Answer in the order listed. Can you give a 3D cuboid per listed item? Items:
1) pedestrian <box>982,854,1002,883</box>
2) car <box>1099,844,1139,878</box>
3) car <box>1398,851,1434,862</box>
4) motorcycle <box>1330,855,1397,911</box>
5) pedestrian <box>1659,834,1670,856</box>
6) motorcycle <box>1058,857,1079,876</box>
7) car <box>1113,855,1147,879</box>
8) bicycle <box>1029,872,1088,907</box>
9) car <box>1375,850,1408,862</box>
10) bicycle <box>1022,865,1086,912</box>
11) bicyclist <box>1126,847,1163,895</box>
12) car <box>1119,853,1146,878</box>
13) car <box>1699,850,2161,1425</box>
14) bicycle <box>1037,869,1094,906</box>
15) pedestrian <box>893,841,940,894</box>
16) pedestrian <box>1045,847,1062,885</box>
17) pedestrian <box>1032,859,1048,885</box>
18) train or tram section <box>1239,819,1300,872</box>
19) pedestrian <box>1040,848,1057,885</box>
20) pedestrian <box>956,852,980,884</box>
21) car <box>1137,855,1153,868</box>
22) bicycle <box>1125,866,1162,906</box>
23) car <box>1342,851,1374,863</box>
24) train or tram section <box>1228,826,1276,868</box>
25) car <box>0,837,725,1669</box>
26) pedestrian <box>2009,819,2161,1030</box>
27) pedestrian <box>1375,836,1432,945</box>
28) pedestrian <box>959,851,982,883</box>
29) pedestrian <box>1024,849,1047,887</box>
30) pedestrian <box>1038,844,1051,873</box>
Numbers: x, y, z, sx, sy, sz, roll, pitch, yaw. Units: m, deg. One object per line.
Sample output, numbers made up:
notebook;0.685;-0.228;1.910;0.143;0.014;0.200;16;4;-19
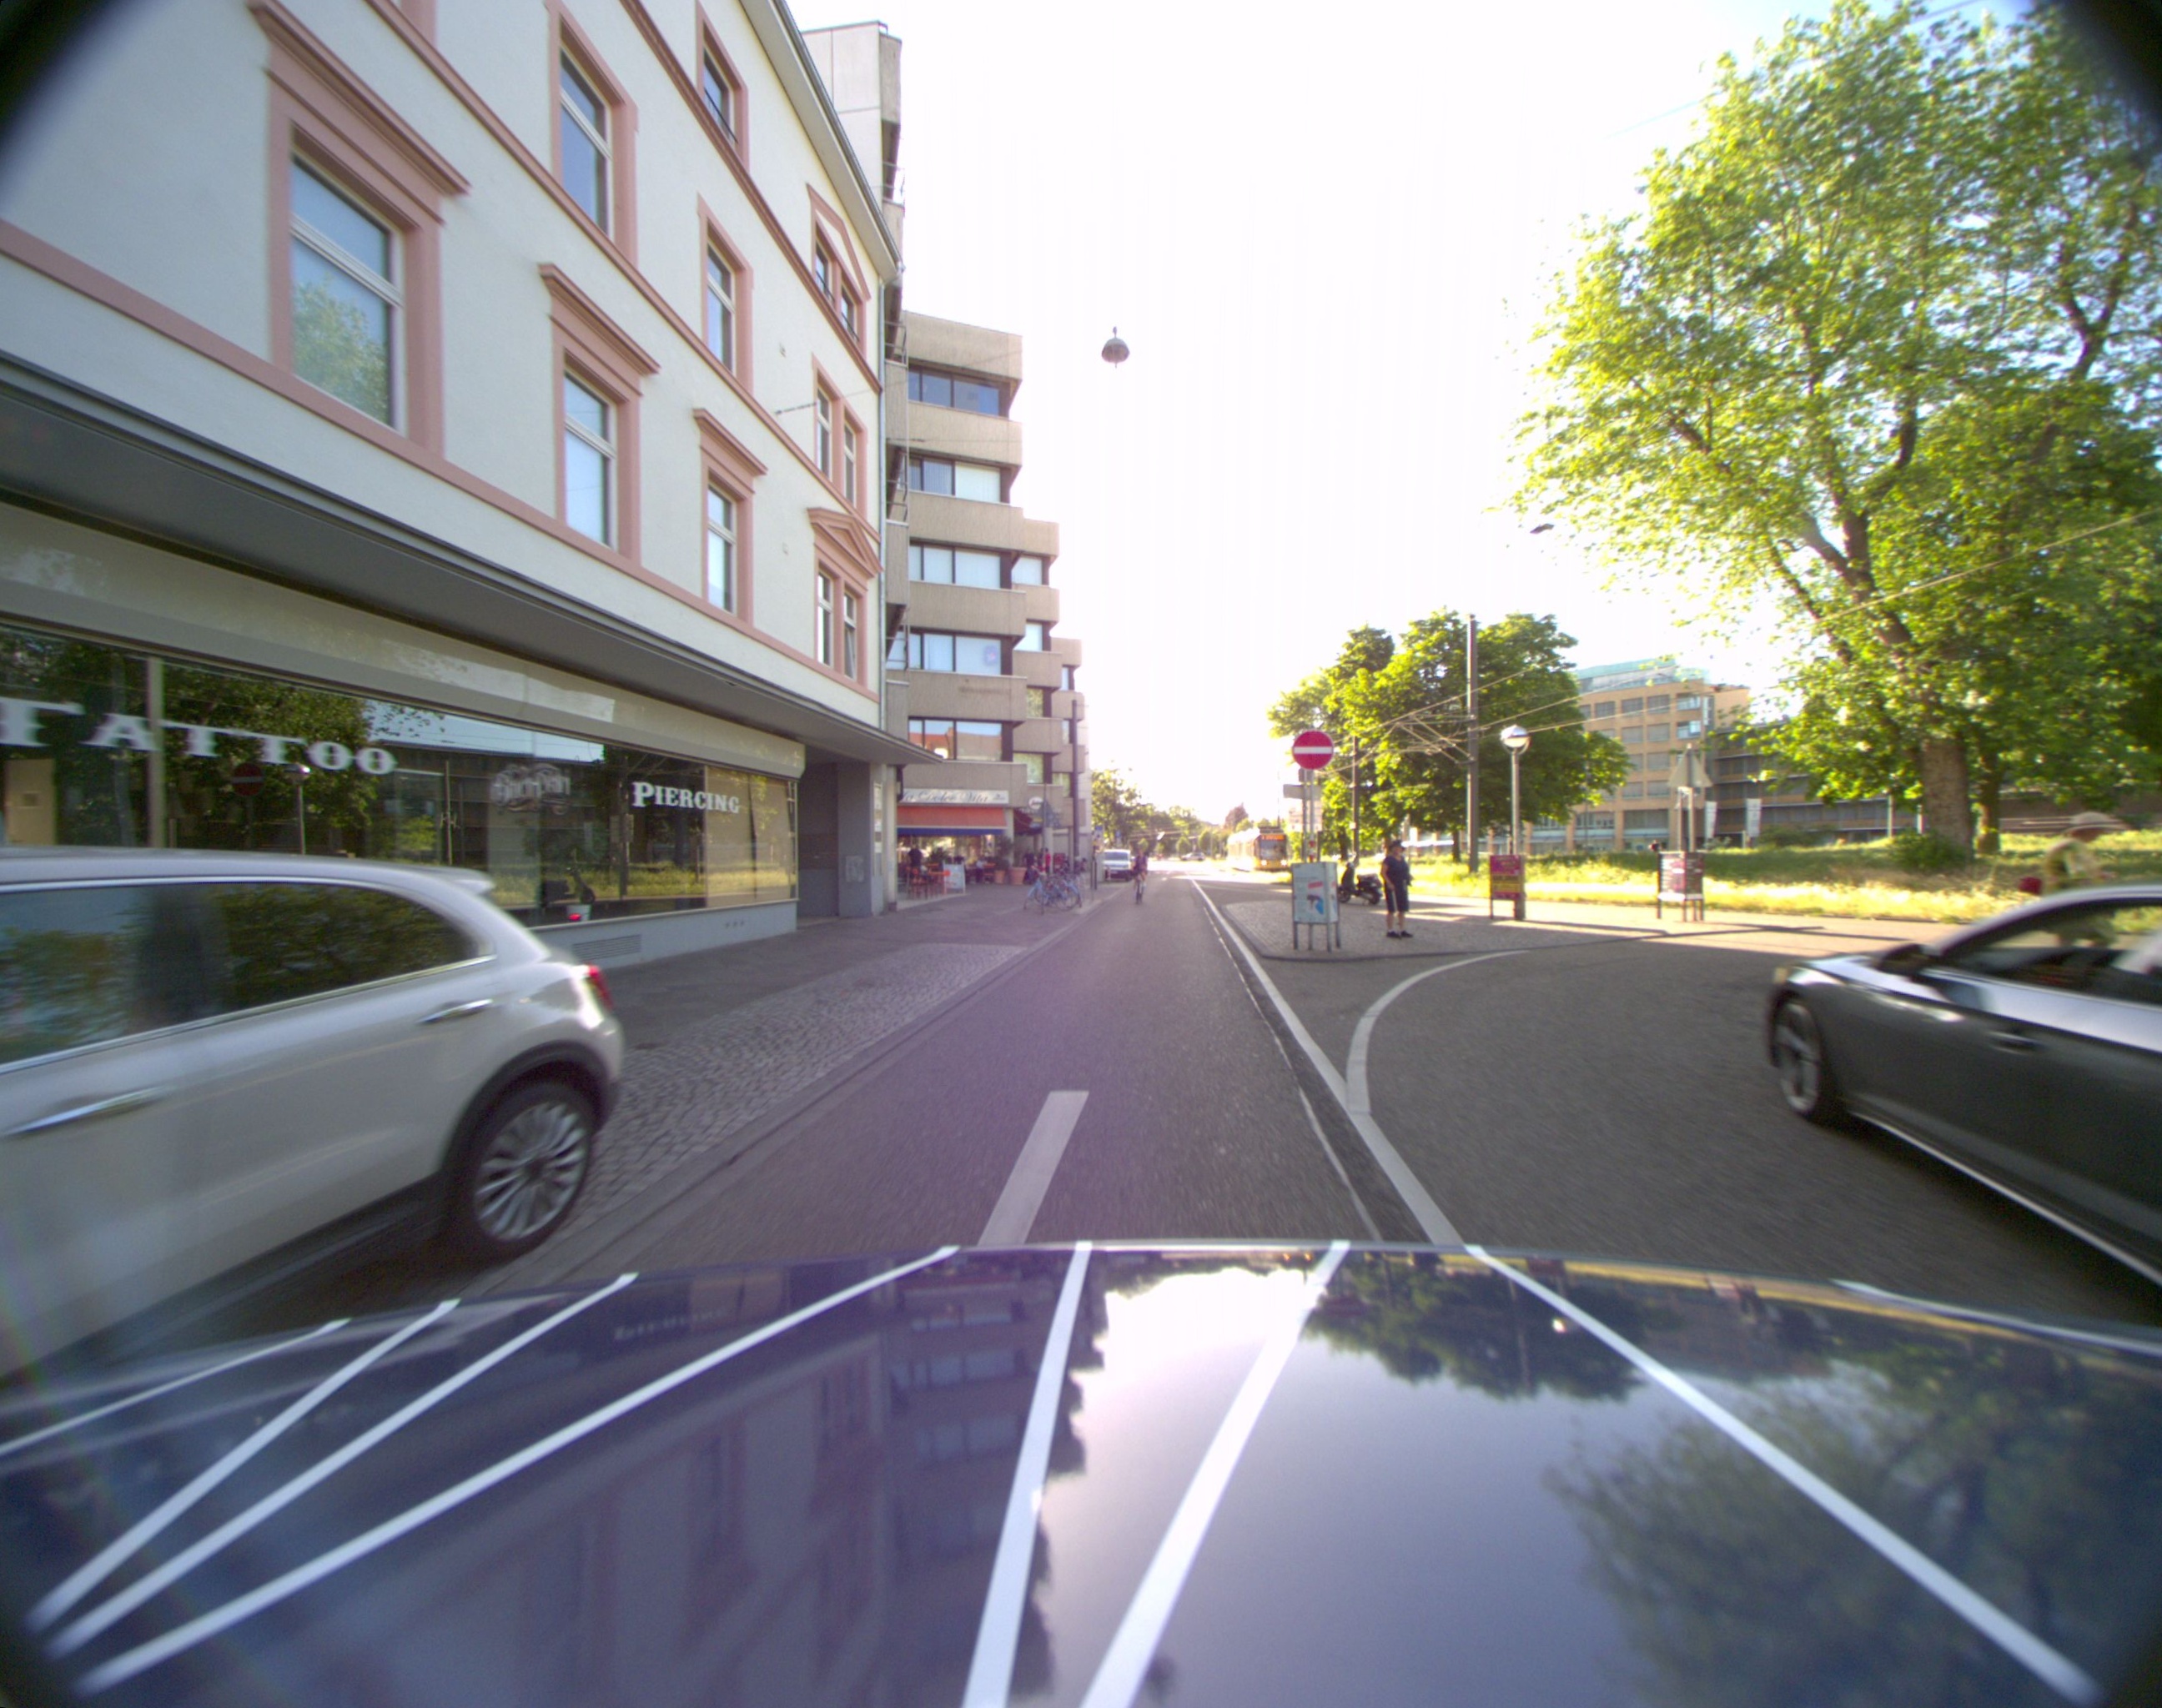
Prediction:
pedestrian;-4.045;0.635;34.535;0.844;1.285;0.830;1;1;-5
car;2.281;0.379;44.413;1.997;1.802;4.311;-2;1;7
car;52.145;0.384;118.317;2.126;1.659;5.202;-2;1;-17
motorcycle;7.503;0.735;20.248;0.748;1.366;1.758;-2;1;-16
pedestrian;43.088;-0.648;56.134;0.676;1.606;0.553;-4;2;-45
motorcycle;-0.784;0.792;50.146;0.765;1.148;2.049;2;2;17
car;3.383;0.843;51.299;1.777;1.445;4.733;-2;1;9
bicycle;-0.670;1.048;22.590;1.705;0.998;0.428;-2;2;23
car;45.663;0.276;111.838;2.001;1.508;4.654;-2;1;-18
bicycle;-0.752;0.947;21.112;1.622;1.236;0.660;-1;2;27
bicyclist;2.049;0.531;24.451;1.039;1.475;0.989;-2;1;12
car;3.944;0.828;57.741;1.855;1.679;3.868;-2;1;7
car;3.907;0.777;2.104;1.913;1.409;4.816;-2;1;20
bicycle;-0.473;1.014;22.922;1.681;1.056;0.344;-2;2;23
pedestrian;-5.585;0.435;25.829;1.020;1.733;1.137;-2;2;21
pedestrian;-1.329;0.572;36.828;0.672;1.846;0.611;2;2;10
pedestrian;-2.010;0.851;36.911;0.631;1.229;0.625;1;2;10
train or tram section;14.490;-0.585;59.477;2.955;3.663;13.191;-1;0;7
pedestrian;-1.542;0.580;36.130;0.584;1.705;0.698;-2;2;10
pedestrian;-4.962;0.609;33.443;0.845;1.394;0.752;-2;0;-23
car;7.308;0.825;87.159;1.769;1.430;4.585;0;0;5
bicycle;2.036;1.003;24.378;0.887;1.129;2.230;-2;1;12
car;43.646;0.457;119.840;2.108;1.724;5.077;-1;0;-19
train or tram section;16.110;-0.608;72.531;2.955;3.591;13.642;-1;0;7
car;-3.132;0.856;1.735;1.749;1.729;4.962;-2;1;7
pedestrian;8.727;0.562;6.593;0.671;1.689;0.803;-3;2;-34
pedestrian;5.116;0.563;12.089;0.637;1.662;0.693;-2;2;8
pedestrian;-4.999;0.578;34.352;0.844;1.394;0.830;-1;0;-18
pedestrian;-2.122;0.646;35.255;0.845;1.700;0.718;1;1;-21
pedestrian;-2.347;0.298;48.398;0.706;1.805;0.716;-2;2;-9
